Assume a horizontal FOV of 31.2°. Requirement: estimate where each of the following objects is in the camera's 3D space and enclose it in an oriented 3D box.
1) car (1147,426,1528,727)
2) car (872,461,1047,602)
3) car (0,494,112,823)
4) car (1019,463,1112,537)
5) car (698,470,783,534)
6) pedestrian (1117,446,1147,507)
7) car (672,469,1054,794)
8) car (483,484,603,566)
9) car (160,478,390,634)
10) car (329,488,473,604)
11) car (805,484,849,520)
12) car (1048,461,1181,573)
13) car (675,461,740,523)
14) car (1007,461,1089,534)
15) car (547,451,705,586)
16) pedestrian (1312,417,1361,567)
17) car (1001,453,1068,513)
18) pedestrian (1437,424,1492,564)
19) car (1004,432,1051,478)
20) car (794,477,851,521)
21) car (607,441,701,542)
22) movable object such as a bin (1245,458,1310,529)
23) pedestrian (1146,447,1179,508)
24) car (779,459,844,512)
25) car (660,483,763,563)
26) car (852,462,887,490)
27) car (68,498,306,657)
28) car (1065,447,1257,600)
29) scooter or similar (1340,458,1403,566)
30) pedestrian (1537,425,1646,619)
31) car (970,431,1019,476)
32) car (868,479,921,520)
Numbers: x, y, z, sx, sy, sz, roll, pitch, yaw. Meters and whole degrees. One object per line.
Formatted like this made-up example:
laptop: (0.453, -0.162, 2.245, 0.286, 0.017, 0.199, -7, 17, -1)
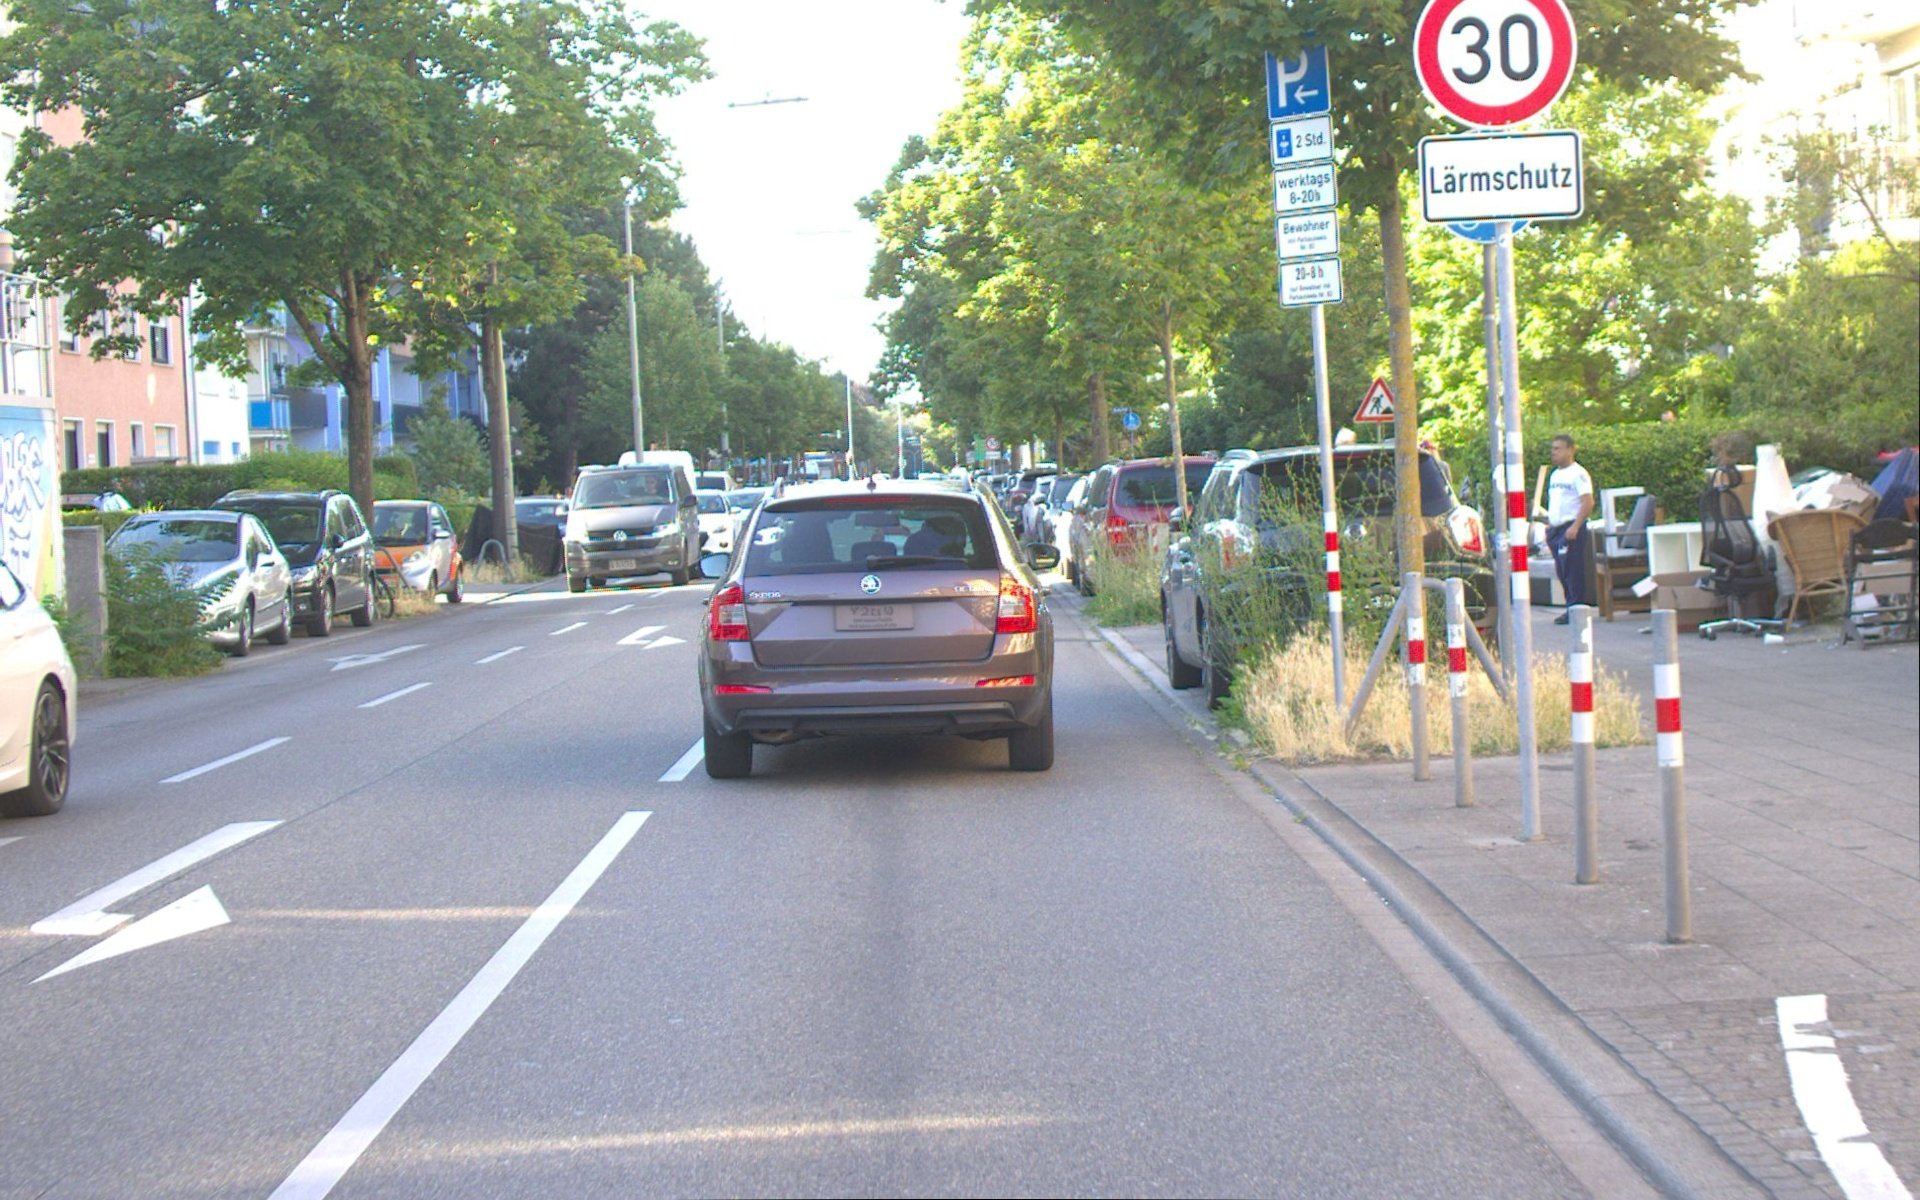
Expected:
car: (2.228, -0.207, 21.279, 1.792, 1.626, 4.030, -2, 2, -1)
car: (-0.033, -0.791, 39.834, 1.892, 1.501, 3.790, 1, 1, -1)
car: (-5.275, 0.337, 15.165, 1.836, 1.468, 4.672, -4, 2, 0)
car: (2.233, -2.168, 73.875, 1.718, 1.489, 4.395, -2, 2, -1)
car: (-5.648, -2.545, 88.849, 1.832, 1.465, 4.452, -5, 2, -1)
pedestrian: (5.310, -3.811, 106.207, 0.749, 1.854, 1.068, -3, 2, -1)
car: (-0.400, 0.073, 17.905, 1.754, 1.487, 4.000, -1, 2, 1)
car: (-8.175, -1.509, 67.729, 1.778, 1.499, 4.589, -2, 2, 0)
car: (-8.253, -0.587, 41.823, 1.784, 1.726, 4.617, -2, 2, 0)
car: (-8.262, -0.823, 50.988, 1.499, 1.611, 2.861, -2, 2, 3)
car: (-6.169, -4.544, 158.687, 1.879, 1.537, 4.268, -2, 2, -3)
car: (2.244, -1.253, 50.790, 1.636, 1.485, 4.416, -3, 2, -1)
car: (-8.559, -3.691, 116.910, 1.868, 2.024, 5.302, -1, 2, -1)
car: (2.040, -2.424, 80.704, 1.718, 1.595, 4.097, -2, 2, -1)
car: (-5.346, -1.349, 55.539, 1.993, 1.939, 4.778, -4, 2, 0)
pedestrian: (4.735, -1.361, 43.221, 0.548, 1.843, 0.764, -2, 2, 7)
car: (2.300, -3.658, 107.152, 1.800, 1.802, 4.425, -1, 2, -2)
pedestrian: (6.202, -1.303, 42.290, 0.510, 1.691, 0.527, -2, 2, -5)
car: (2.567, -5.467, 130.025, 1.754, 1.680, 4.252, -1, 2, 1)
car: (-5.006, -3.717, 125.626, 1.700, 1.465, 4.294, -3, 2, 2)
car: (-8.299, -2.990, 93.762, 1.993, 2.607, 7.106, -1, 2, -1)
movable object such as a bin: (7.097, -2.385, 76.736, 1.267, 1.487, 1.139, -4, 2, 10)
pedestrian: (6.241, -3.780, 105.974, 0.799, 1.854, 0.950, -2, 2, 11)
car: (-4.340, -3.376, 101.103, 1.700, 1.399, 4.028, -4, 2, -1)
car: (-5.090, -1.612, 70.780, 1.816, 1.441, 4.111, -5, 2, -1)
car: (-6.028, -8.207, 227.738, 1.993, 1.744, 4.001, -2, 2, -5)
car: (-8.235, -0.290, 36.966, 1.682, 1.516, 4.192, -2, 2, -2)
car: (2.310, -0.940, 40.584, 1.721, 1.650, 4.599, -2, 2, -3)
scooter or similar: (5.170, -1.110, 43.174, 0.746, 1.312, 0.721, -2, 2, 7)
pedestrian: (5.214, -0.647, 28.402, 0.555, 1.562, 0.748, -3, 2, -18)
car: (1.489, -6.225, 146.348, 1.916, 1.854, 5.633, -2, 2, 1)
car: (-2.442, -3.742, 127.531, 1.781, 1.475, 3.972, -1, 2, -3)
